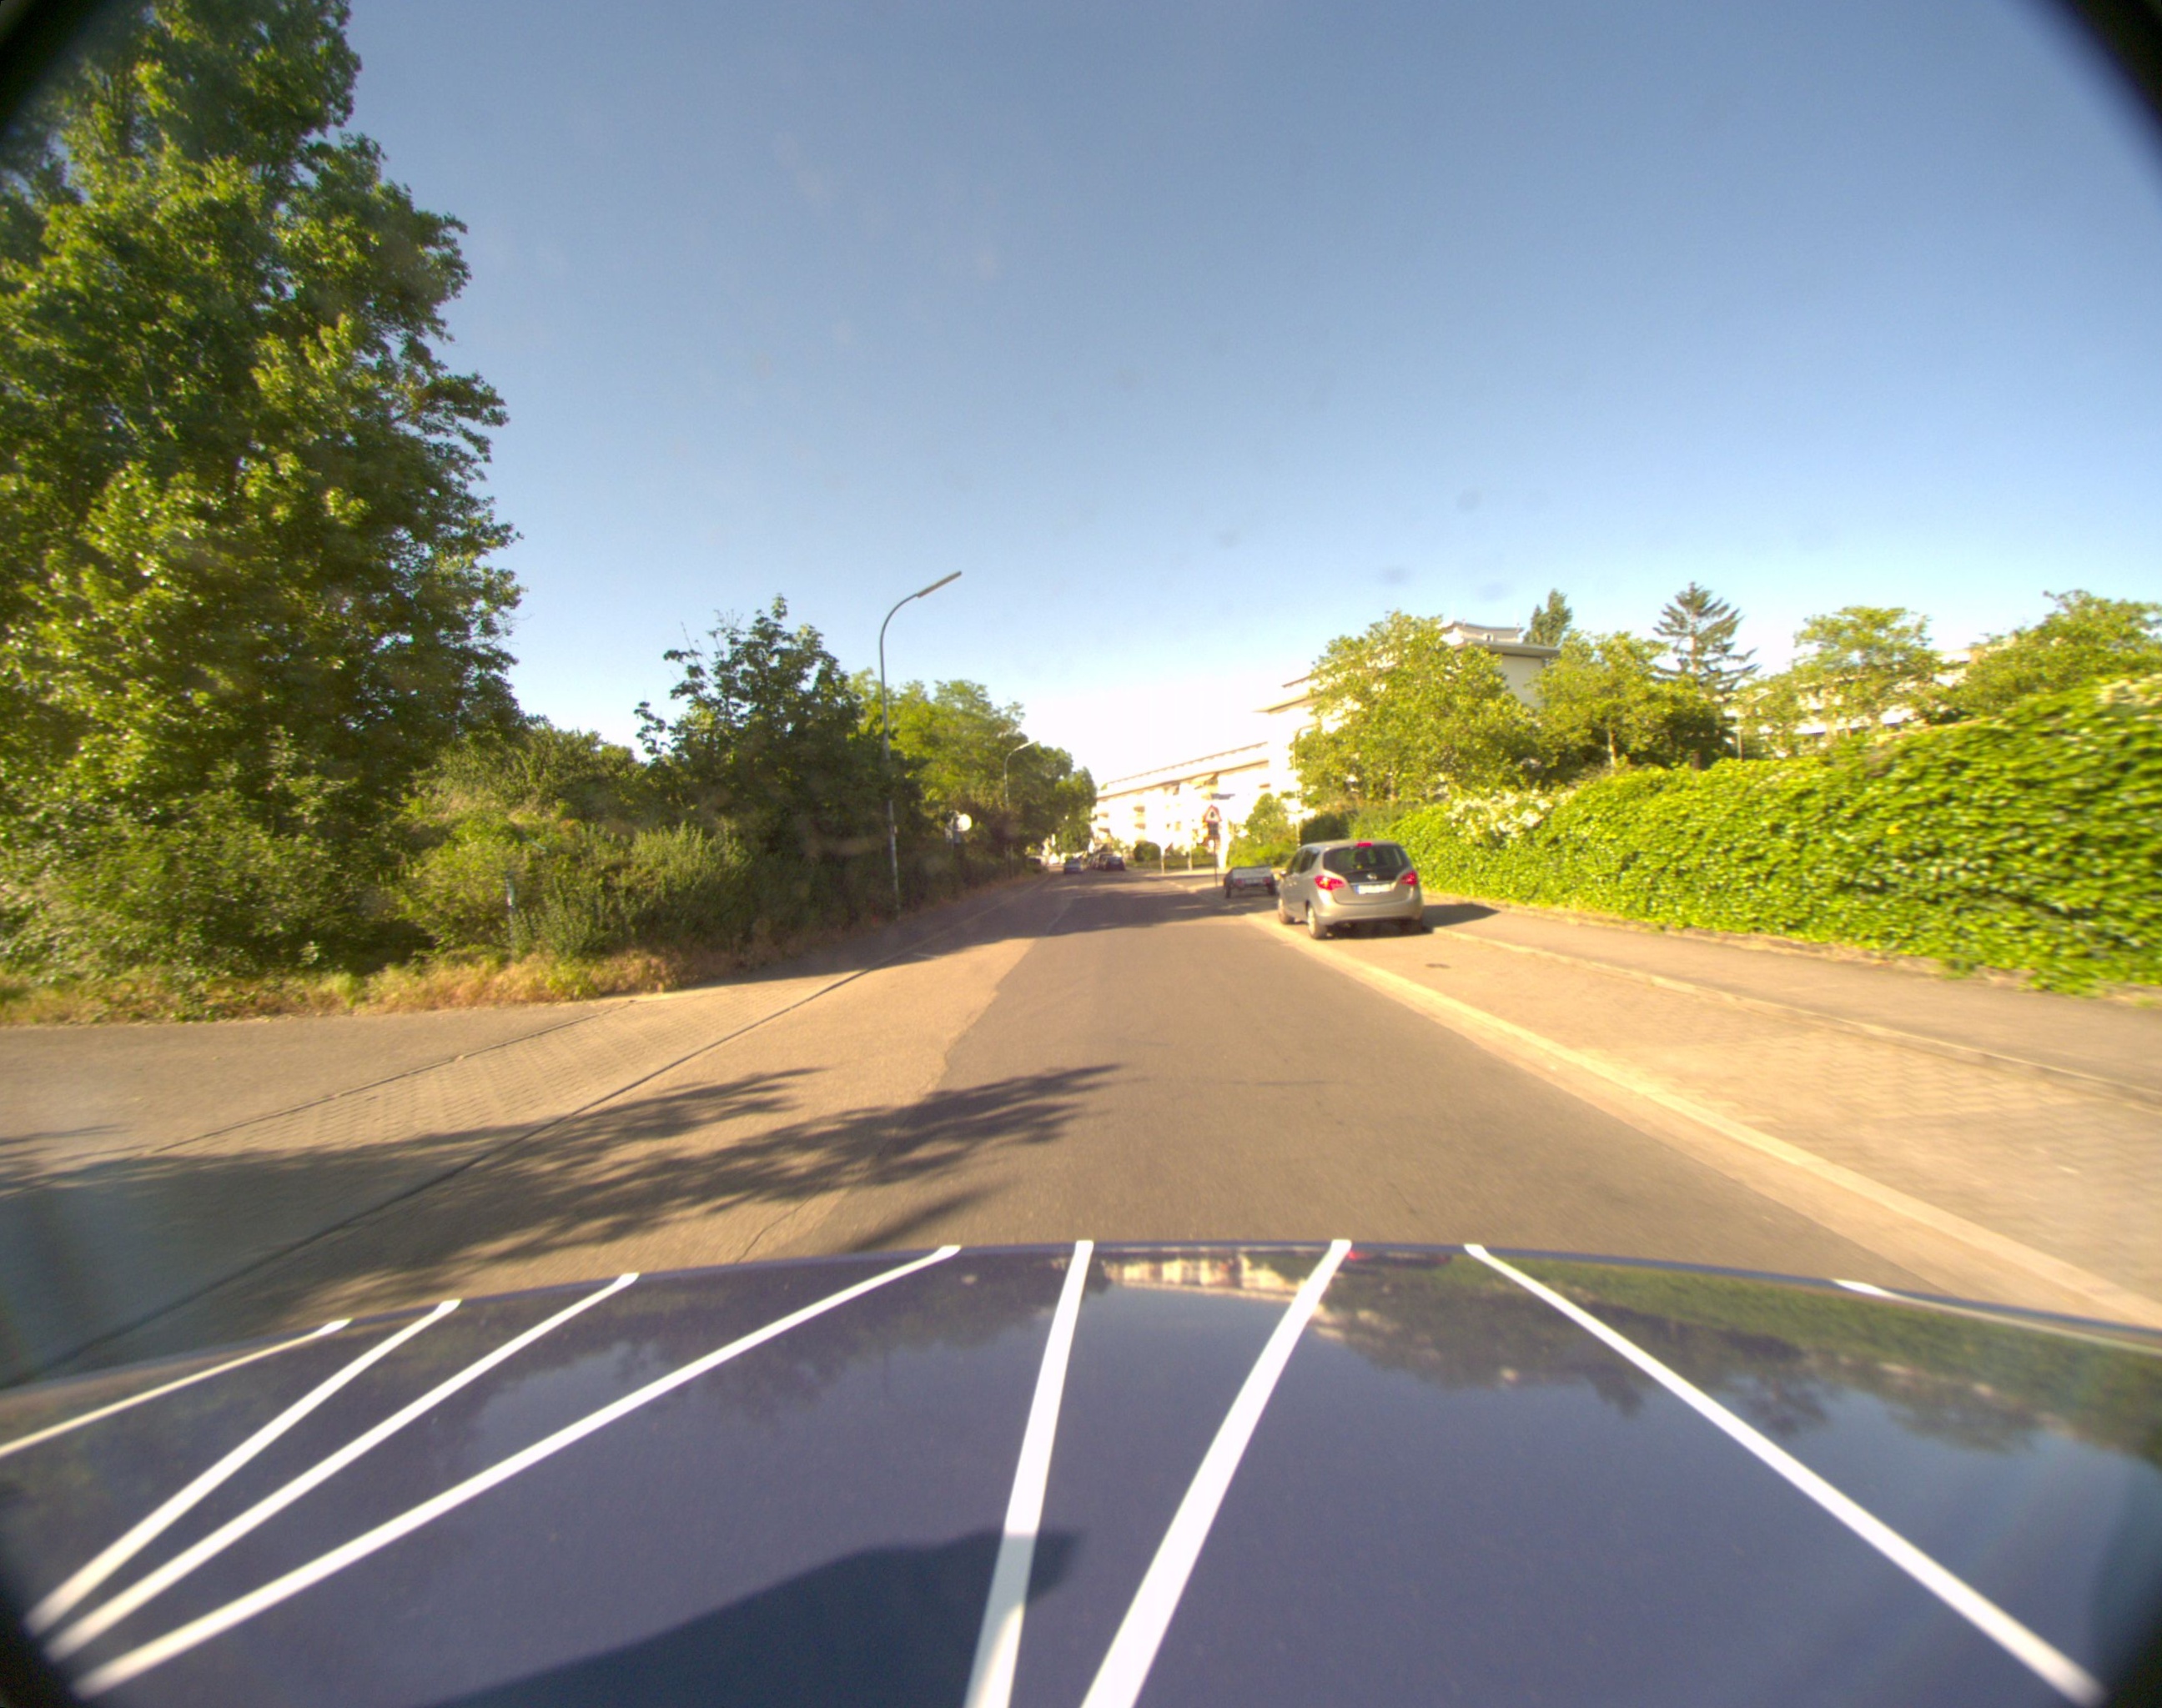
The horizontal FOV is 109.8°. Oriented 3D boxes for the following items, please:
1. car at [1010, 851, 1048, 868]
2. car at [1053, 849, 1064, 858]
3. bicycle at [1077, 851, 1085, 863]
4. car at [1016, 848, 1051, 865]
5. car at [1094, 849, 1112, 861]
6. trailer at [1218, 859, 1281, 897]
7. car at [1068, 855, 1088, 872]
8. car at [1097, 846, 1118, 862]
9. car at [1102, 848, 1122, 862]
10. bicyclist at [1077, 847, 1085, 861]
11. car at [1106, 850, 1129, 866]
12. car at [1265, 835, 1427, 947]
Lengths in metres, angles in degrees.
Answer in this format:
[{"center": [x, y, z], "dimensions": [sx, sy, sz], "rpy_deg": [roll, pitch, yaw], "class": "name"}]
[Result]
[{"center": [-5.910, 0.595, 86.882], "dimensions": [4.159, 1.685, 1.774], "rpy_deg": [-3, 0, -1], "class": "car"}, {"center": [-5.466, -0.151, 183.063], "dimensions": [2.008, 1.837, 4.613], "rpy_deg": [-5, 1, -7], "class": "car"}, {"center": [0.010, 0.396, 95.121], "dimensions": [0.853, 1.363, 3.219], "rpy_deg": [-4, 1, -1], "class": "bicycle"}, {"center": [-6.156, 0.355, 99.548], "dimensions": [4.463, 2.005, 2.020], "rpy_deg": [-2, 0, -2], "class": "car"}, {"center": [2.625, 0.094, 91.587], "dimensions": [1.845, 1.473, 4.573], "rpy_deg": [-1, 0, -3], "class": "car"}, {"center": [5.307, 0.728, 24.163], "dimensions": [1.547, 0.948, 2.648], "rpy_deg": [-5, 1, 5], "class": "trailer"}, {"center": [-0.270, 0.816, 69.159], "dimensions": [1.597, 1.417, 4.169], "rpy_deg": [-1, 0, -3], "class": "car"}, {"center": [2.961, -0.007, 85.570], "dimensions": [1.845, 1.770, 4.886], "rpy_deg": [-2, 0, -3], "class": "car"}, {"center": [3.168, 0.103, 79.027], "dimensions": [1.844, 1.446, 4.018], "rpy_deg": [-2, 0, 0], "class": "car"}, {"center": [-0.009, 0.011, 95.363], "dimensions": [0.847, 1.648, 1.064], "rpy_deg": [-4, 1, -1], "class": "bicyclist"}, {"center": [3.416, 0.394, 72.353], "dimensions": [1.732, 1.455, 4.681], "rpy_deg": [-2, 0, -3], "class": "car"}, {"center": [4.580, 0.541, 13.803], "dimensions": [1.647, 1.590, 4.312], "rpy_deg": [-5, 1, 5], "class": "car"}]
